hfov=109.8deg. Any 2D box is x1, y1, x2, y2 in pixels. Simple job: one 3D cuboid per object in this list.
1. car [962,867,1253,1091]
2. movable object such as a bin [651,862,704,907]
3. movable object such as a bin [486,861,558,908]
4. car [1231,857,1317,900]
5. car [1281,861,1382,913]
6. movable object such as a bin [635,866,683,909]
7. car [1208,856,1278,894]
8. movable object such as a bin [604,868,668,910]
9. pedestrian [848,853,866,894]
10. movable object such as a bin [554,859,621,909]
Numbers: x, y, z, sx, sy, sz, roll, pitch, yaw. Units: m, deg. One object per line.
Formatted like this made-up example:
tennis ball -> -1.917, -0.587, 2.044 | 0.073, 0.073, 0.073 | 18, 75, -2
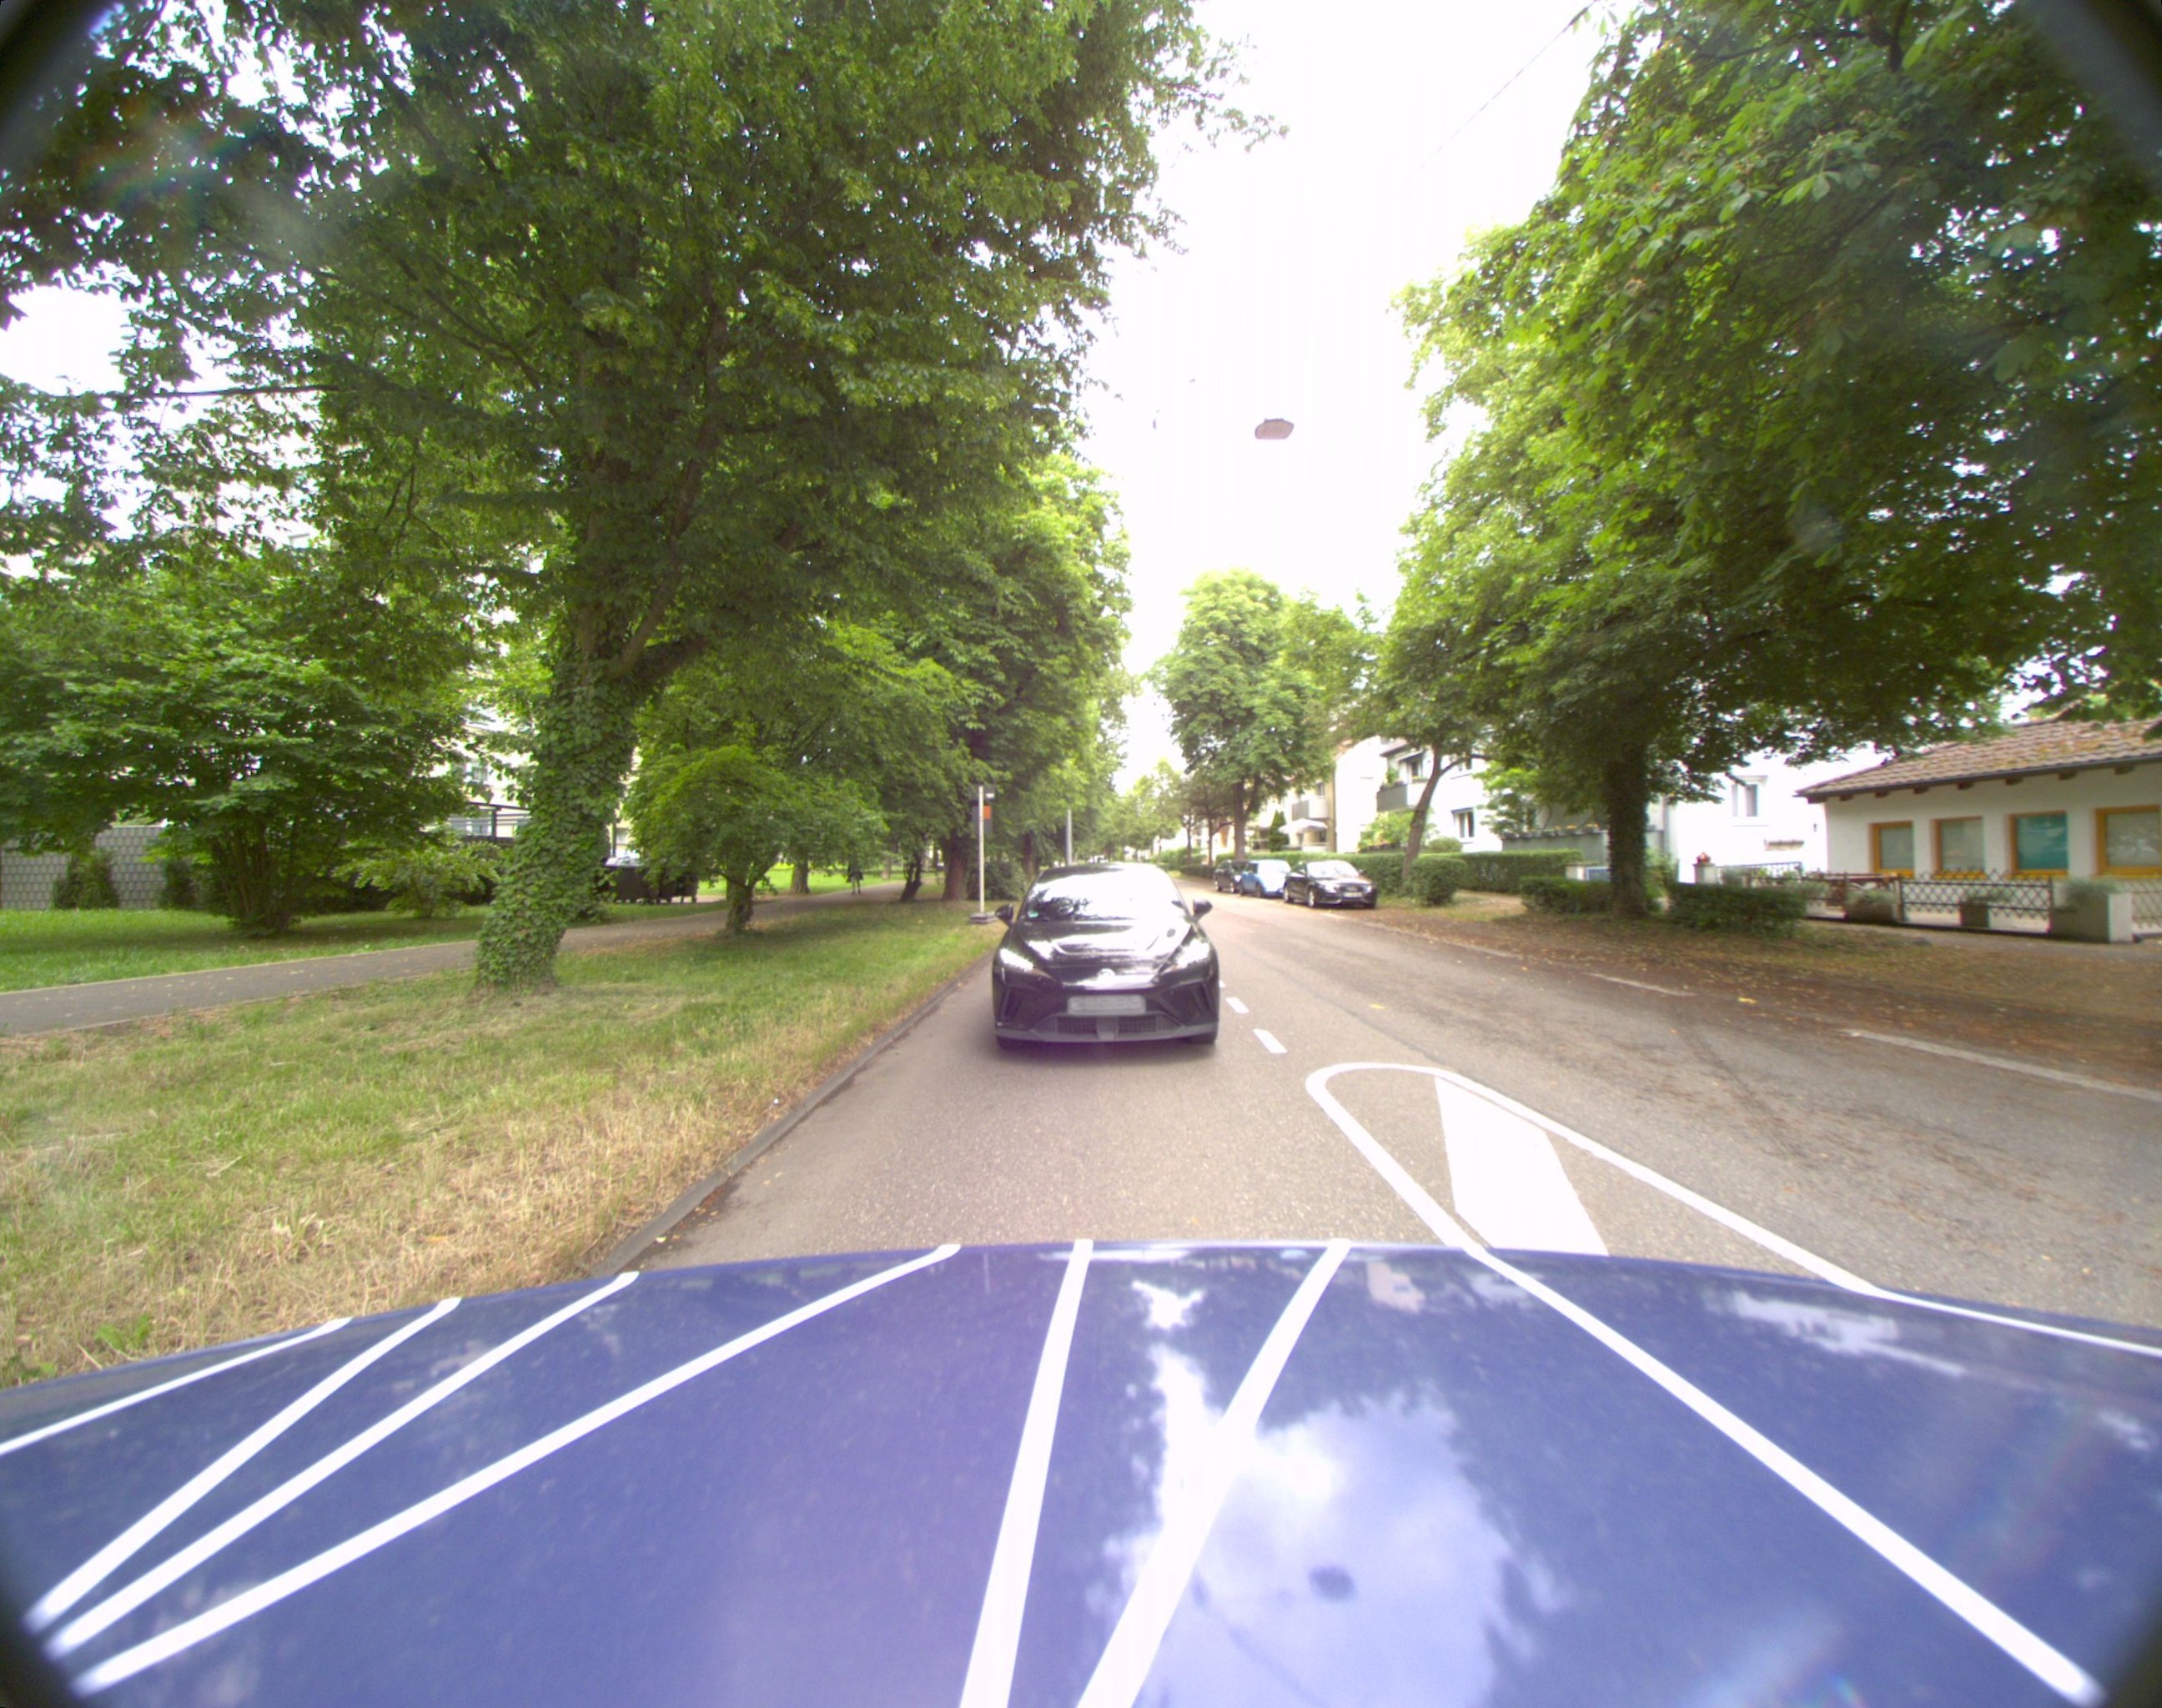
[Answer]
car -> 0.203, 0.904, 7.542 | 1.998, 1.491, 4.615 | 0, 0, 1
movable object such as a bin -> -13.243, 0.984, 24.976 | 1.194, 1.405, 1.110 | 0, 0, -8
movable object such as a bin -> -16.513, 0.892, 22.488 | 1.194, 1.334, 1.348 | 0, 0, -8
car -> 7.207, 0.881, 28.904 | 1.889, 1.492, 4.565 | 0, 0, -3
car -> 7.406, 0.915, 22.883 | 1.735, 1.394, 4.172 | 0, 0, 1
movable object such as a bin -> -13.240, 1.044, 23.882 | 1.026, 1.296, 0.960 | 0, 0, -8
car -> 7.076, 0.883, 33.658 | 1.889, 1.524, 4.565 | 0, 0, -3
movable object such as a bin -> -13.255, 1.025, 22.684 | 1.194, 1.213, 1.348 | 0, 0, -8
pedestrian -> -9.578, 0.823, 32.475 | 0.565, 1.730, 0.570 | 1, 0, 0
movable object such as a bin -> -14.572, 0.868, 22.491 | 1.194, 1.448, 1.348 | 0, 0, -8
